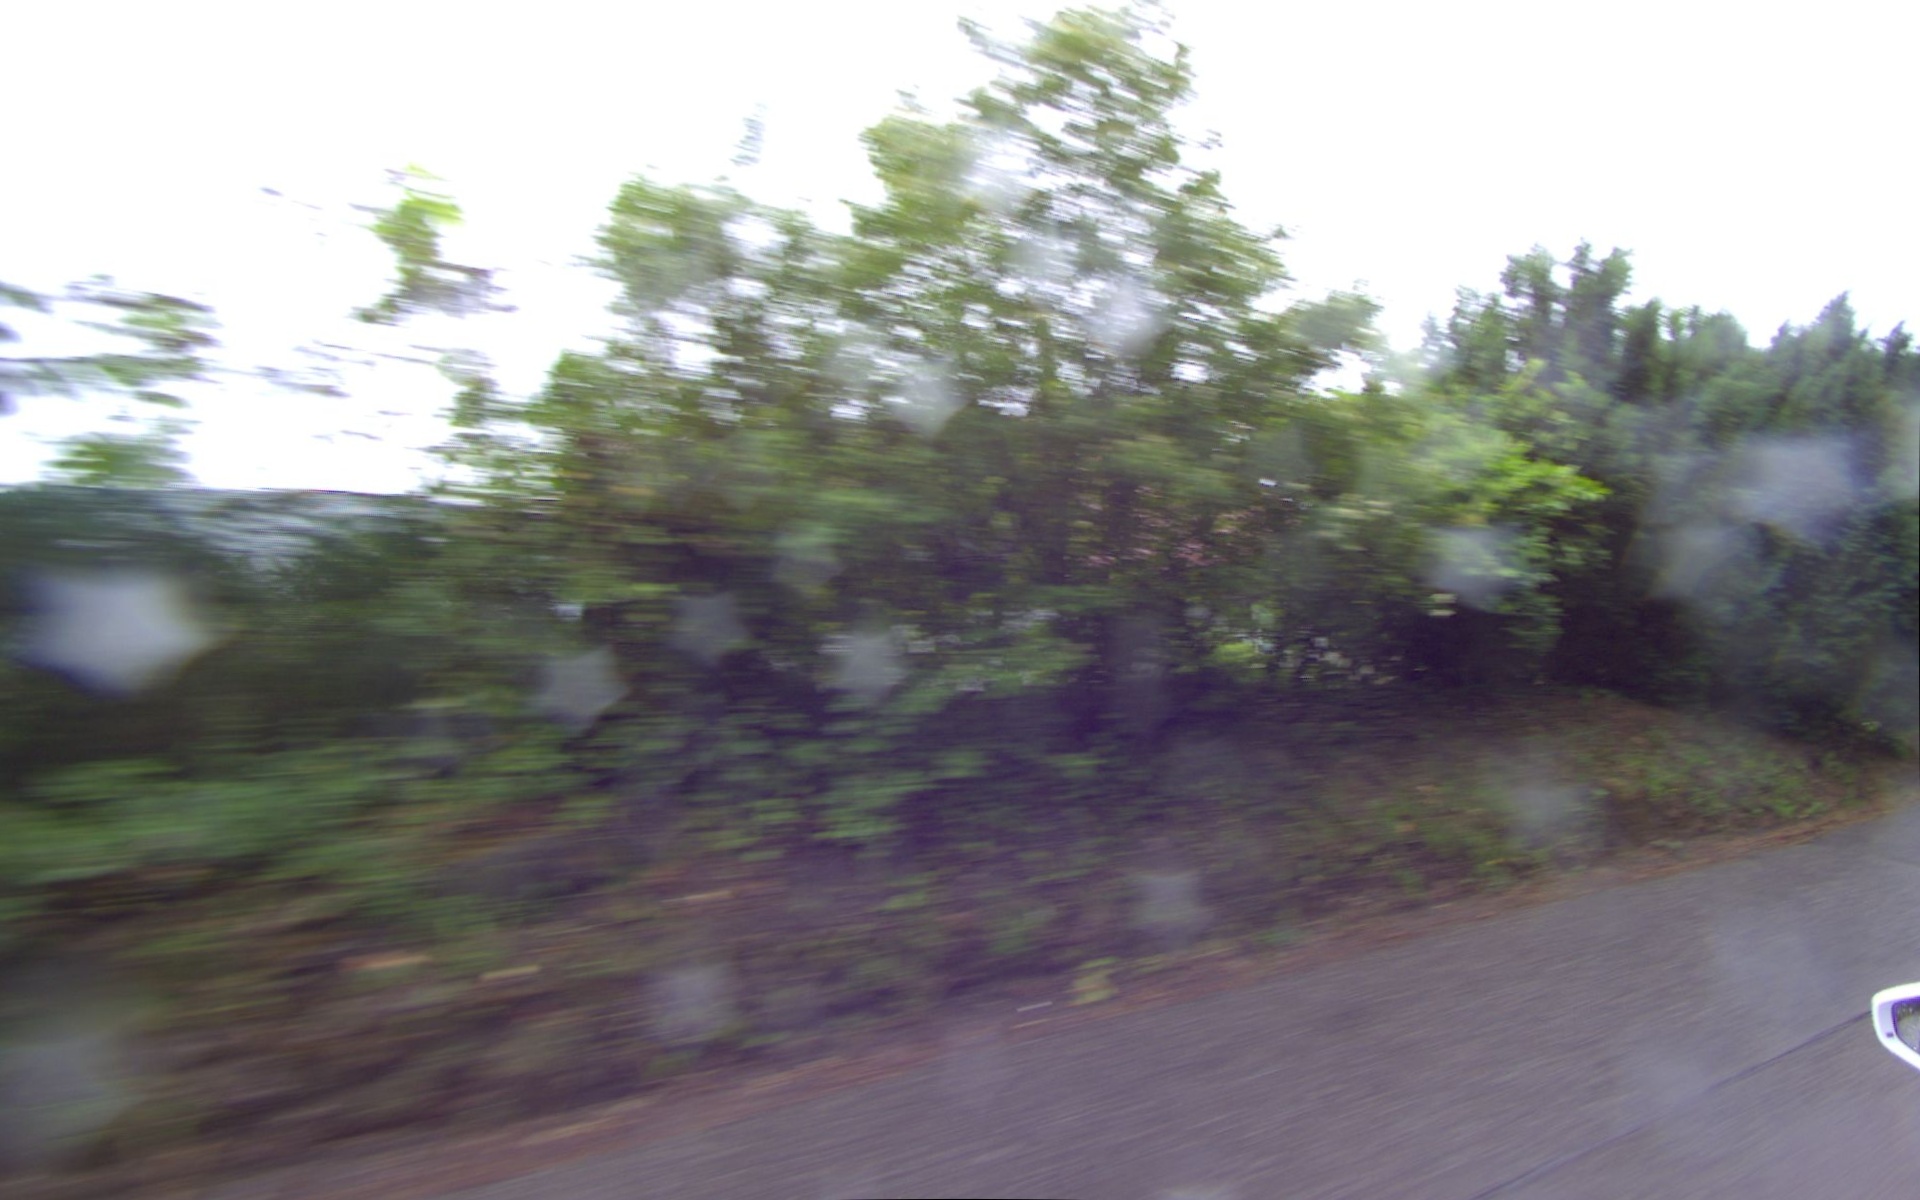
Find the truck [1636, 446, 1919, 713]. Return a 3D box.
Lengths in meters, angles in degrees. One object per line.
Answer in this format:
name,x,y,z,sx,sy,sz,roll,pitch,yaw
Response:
truck,15.380,-0.559,18.281,2.620,3.863,8.131,1,4,16
